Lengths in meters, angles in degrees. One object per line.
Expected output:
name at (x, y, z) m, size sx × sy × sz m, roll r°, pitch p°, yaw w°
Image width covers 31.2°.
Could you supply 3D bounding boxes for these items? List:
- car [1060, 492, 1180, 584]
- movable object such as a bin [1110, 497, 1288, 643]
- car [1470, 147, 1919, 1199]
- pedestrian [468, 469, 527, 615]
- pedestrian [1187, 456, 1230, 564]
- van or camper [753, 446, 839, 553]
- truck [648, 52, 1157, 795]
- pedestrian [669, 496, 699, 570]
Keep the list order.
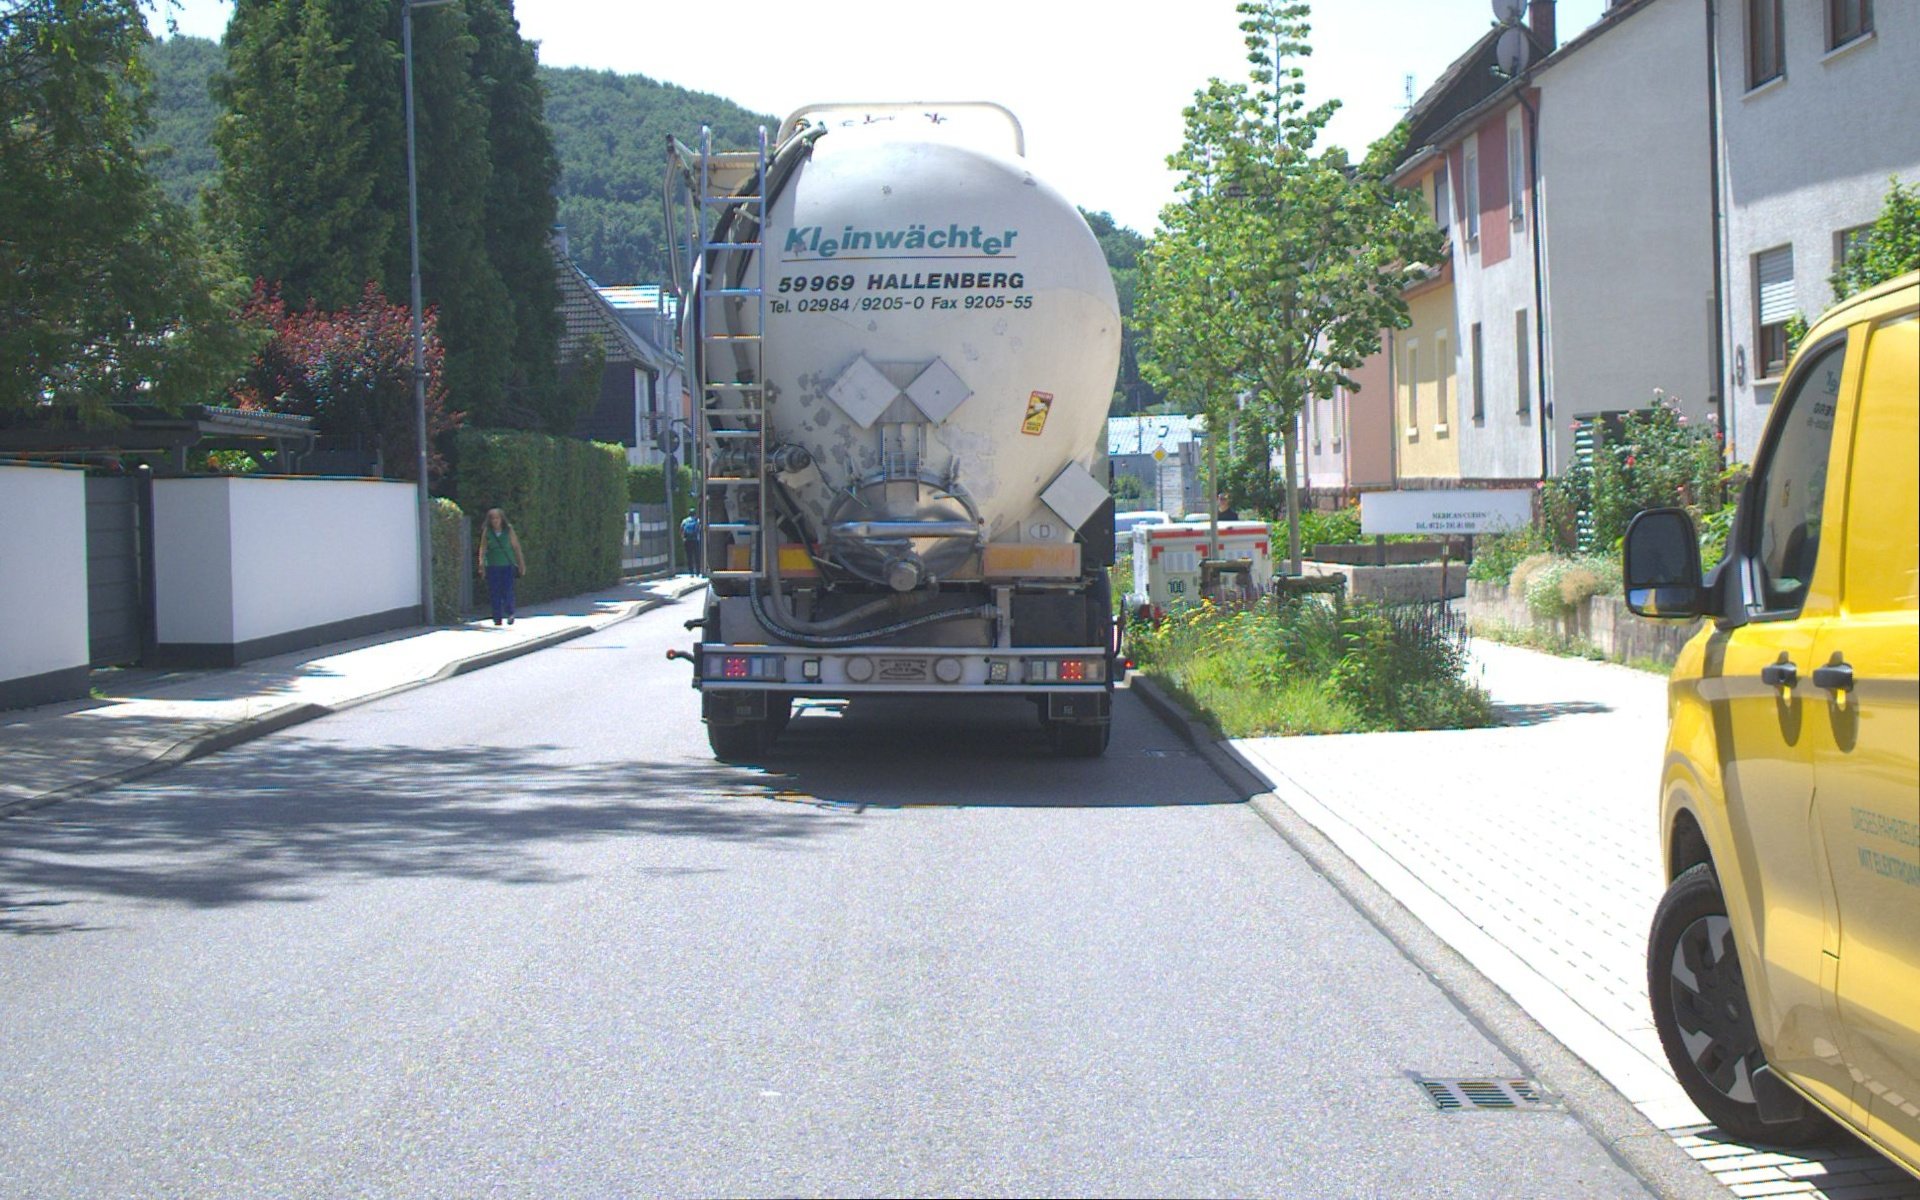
car at (2.725, -1.039, 59.422) m, size 1.756 × 1.413 × 4.633 m, roll -3°, pitch 0°, yaw 0°
movable object such as a bin at (2.466, -0.313, 36.029) m, size 1.571 × 1.412 × 3.042 m, roll -2°, pitch 1°, yaw -1°
car at (2.601, 0.200, 6.317) m, size 2.189 × 2.006 × 5.623 m, roll -5°, pitch 1°, yaw -1°
pedestrian at (-6.415, -0.805, 47.676) m, size 0.720 × 2.007 × 0.804 m, roll 0°, pitch 0°, yaw -1°
pedestrian at (4.627, -1.669, 64.044) m, size 0.746 × 2.007 × 1.033 m, roll 0°, pitch 0°, yaw 1°
van or camper at (-4.286, -2.615, 90.672) m, size 2.037 × 2.704 × 5.824 m, roll 0°, pitch 1°, yaw -1°
truck at (-0.383, -1.113, 24.274) m, size 2.750 × 4.043 × 10.890 m, roll -1°, pitch 2°, yaw -1°
pedestrian at (-6.849, -1.659, 85.337) m, size 0.712 × 1.817 × 0.898 m, roll 0°, pitch 0°, yaw -4°
